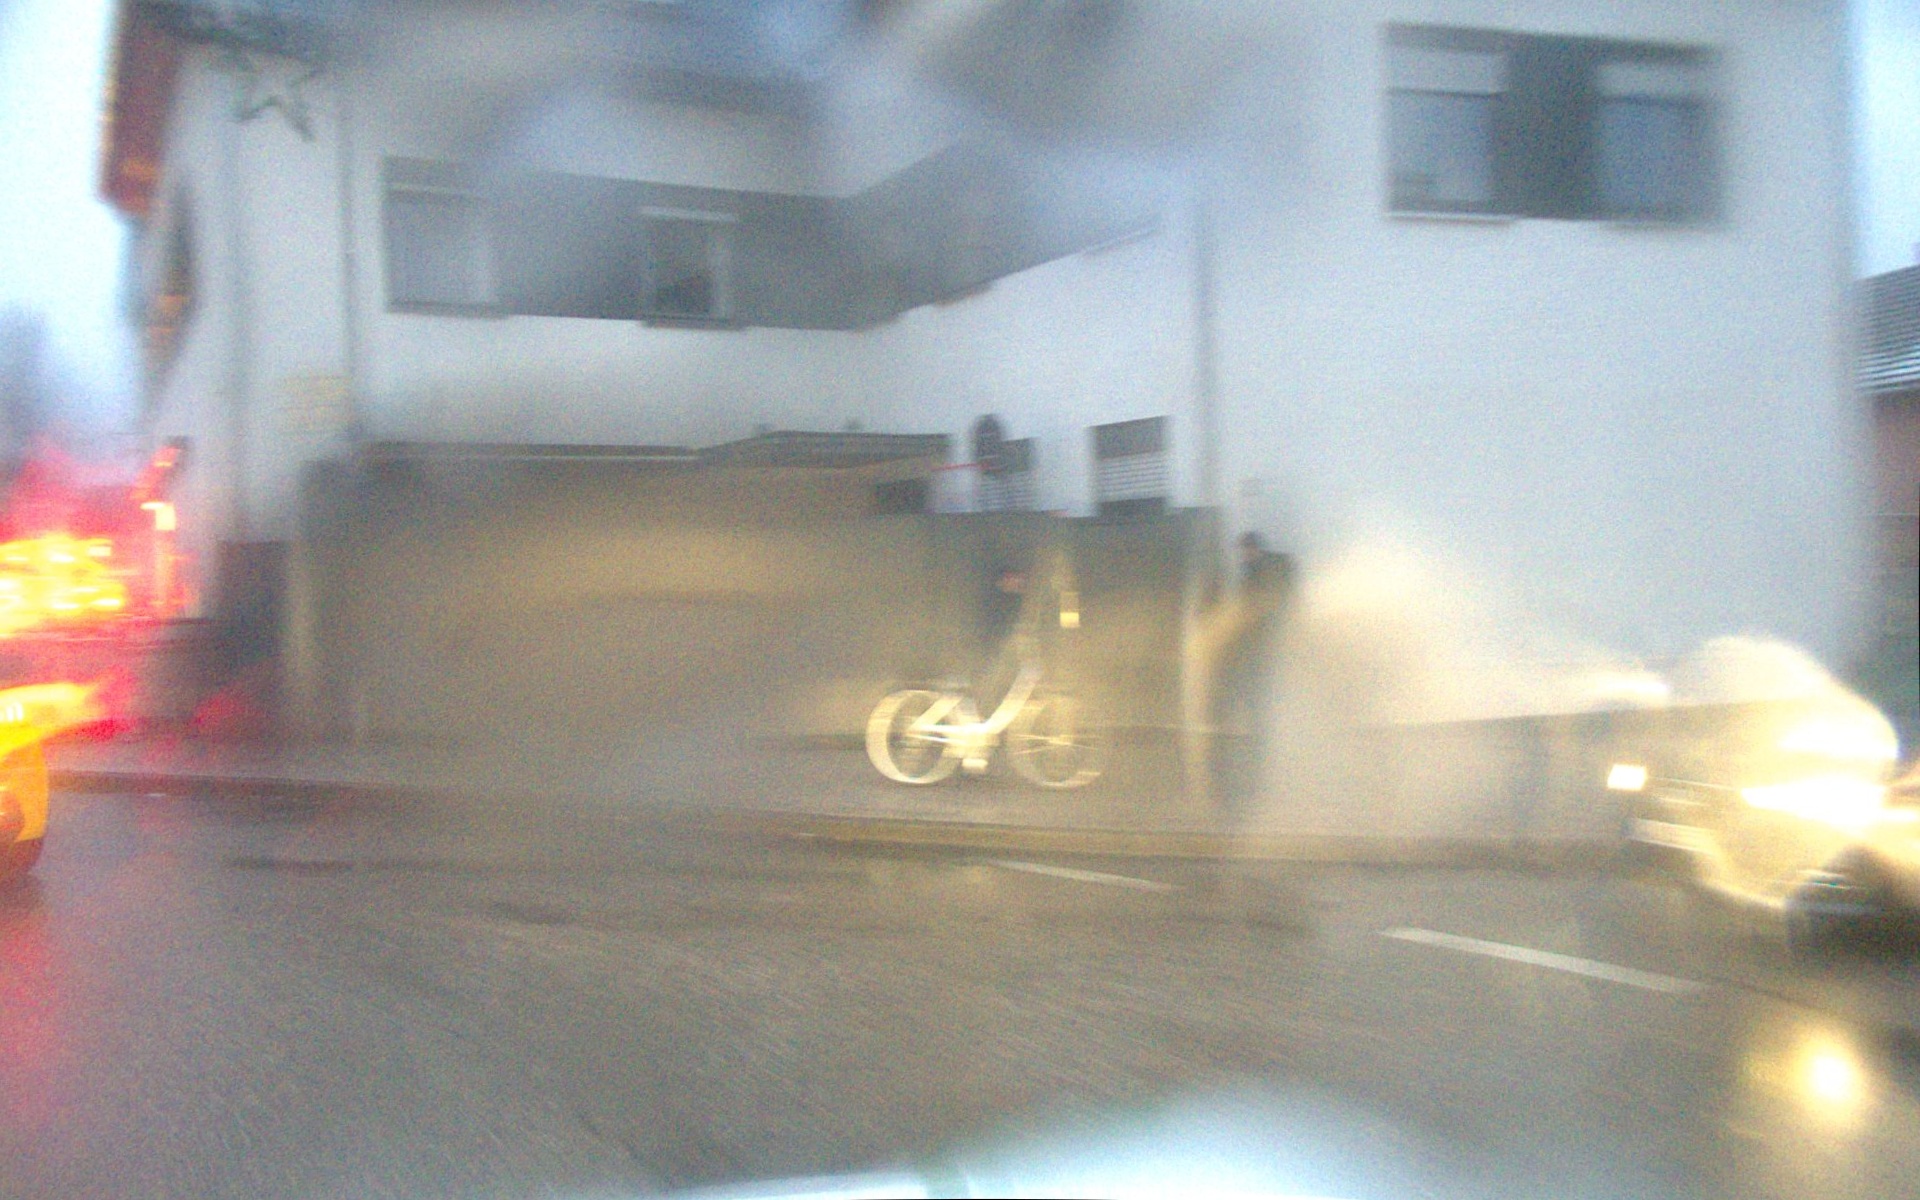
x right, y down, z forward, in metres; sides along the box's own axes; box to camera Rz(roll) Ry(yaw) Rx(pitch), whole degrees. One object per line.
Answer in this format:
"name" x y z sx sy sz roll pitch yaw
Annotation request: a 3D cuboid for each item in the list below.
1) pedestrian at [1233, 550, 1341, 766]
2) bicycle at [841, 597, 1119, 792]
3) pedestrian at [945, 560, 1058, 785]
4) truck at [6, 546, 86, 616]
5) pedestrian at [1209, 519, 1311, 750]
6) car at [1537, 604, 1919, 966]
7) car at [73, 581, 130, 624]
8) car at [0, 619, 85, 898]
"pedestrian" 2.557 0.438 12.981 0.701 1.649 0.582 -1 1 -4
"bicycle" 0.147 0.657 11.885 1.895 1.318 0.552 0 3 15
"pedestrian" 0.309 0.509 12.115 0.675 1.591 0.611 0 2 16
"truck" -41.887 -0.893 75.924 2.680 3.062 5.946 -1 1 -24
"pedestrian" 2.486 0.268 13.741 0.701 1.863 0.637 -1 3 -4
"car" 5.133 0.722 7.882 4.148 1.408 1.844 -1 -2 -13
"car" -32.574 0.068 62.818 1.669 1.492 3.690 -1 2 -24
"car" -6.803 0.851 9.521 3.936 1.446 1.707 -1 0 39
